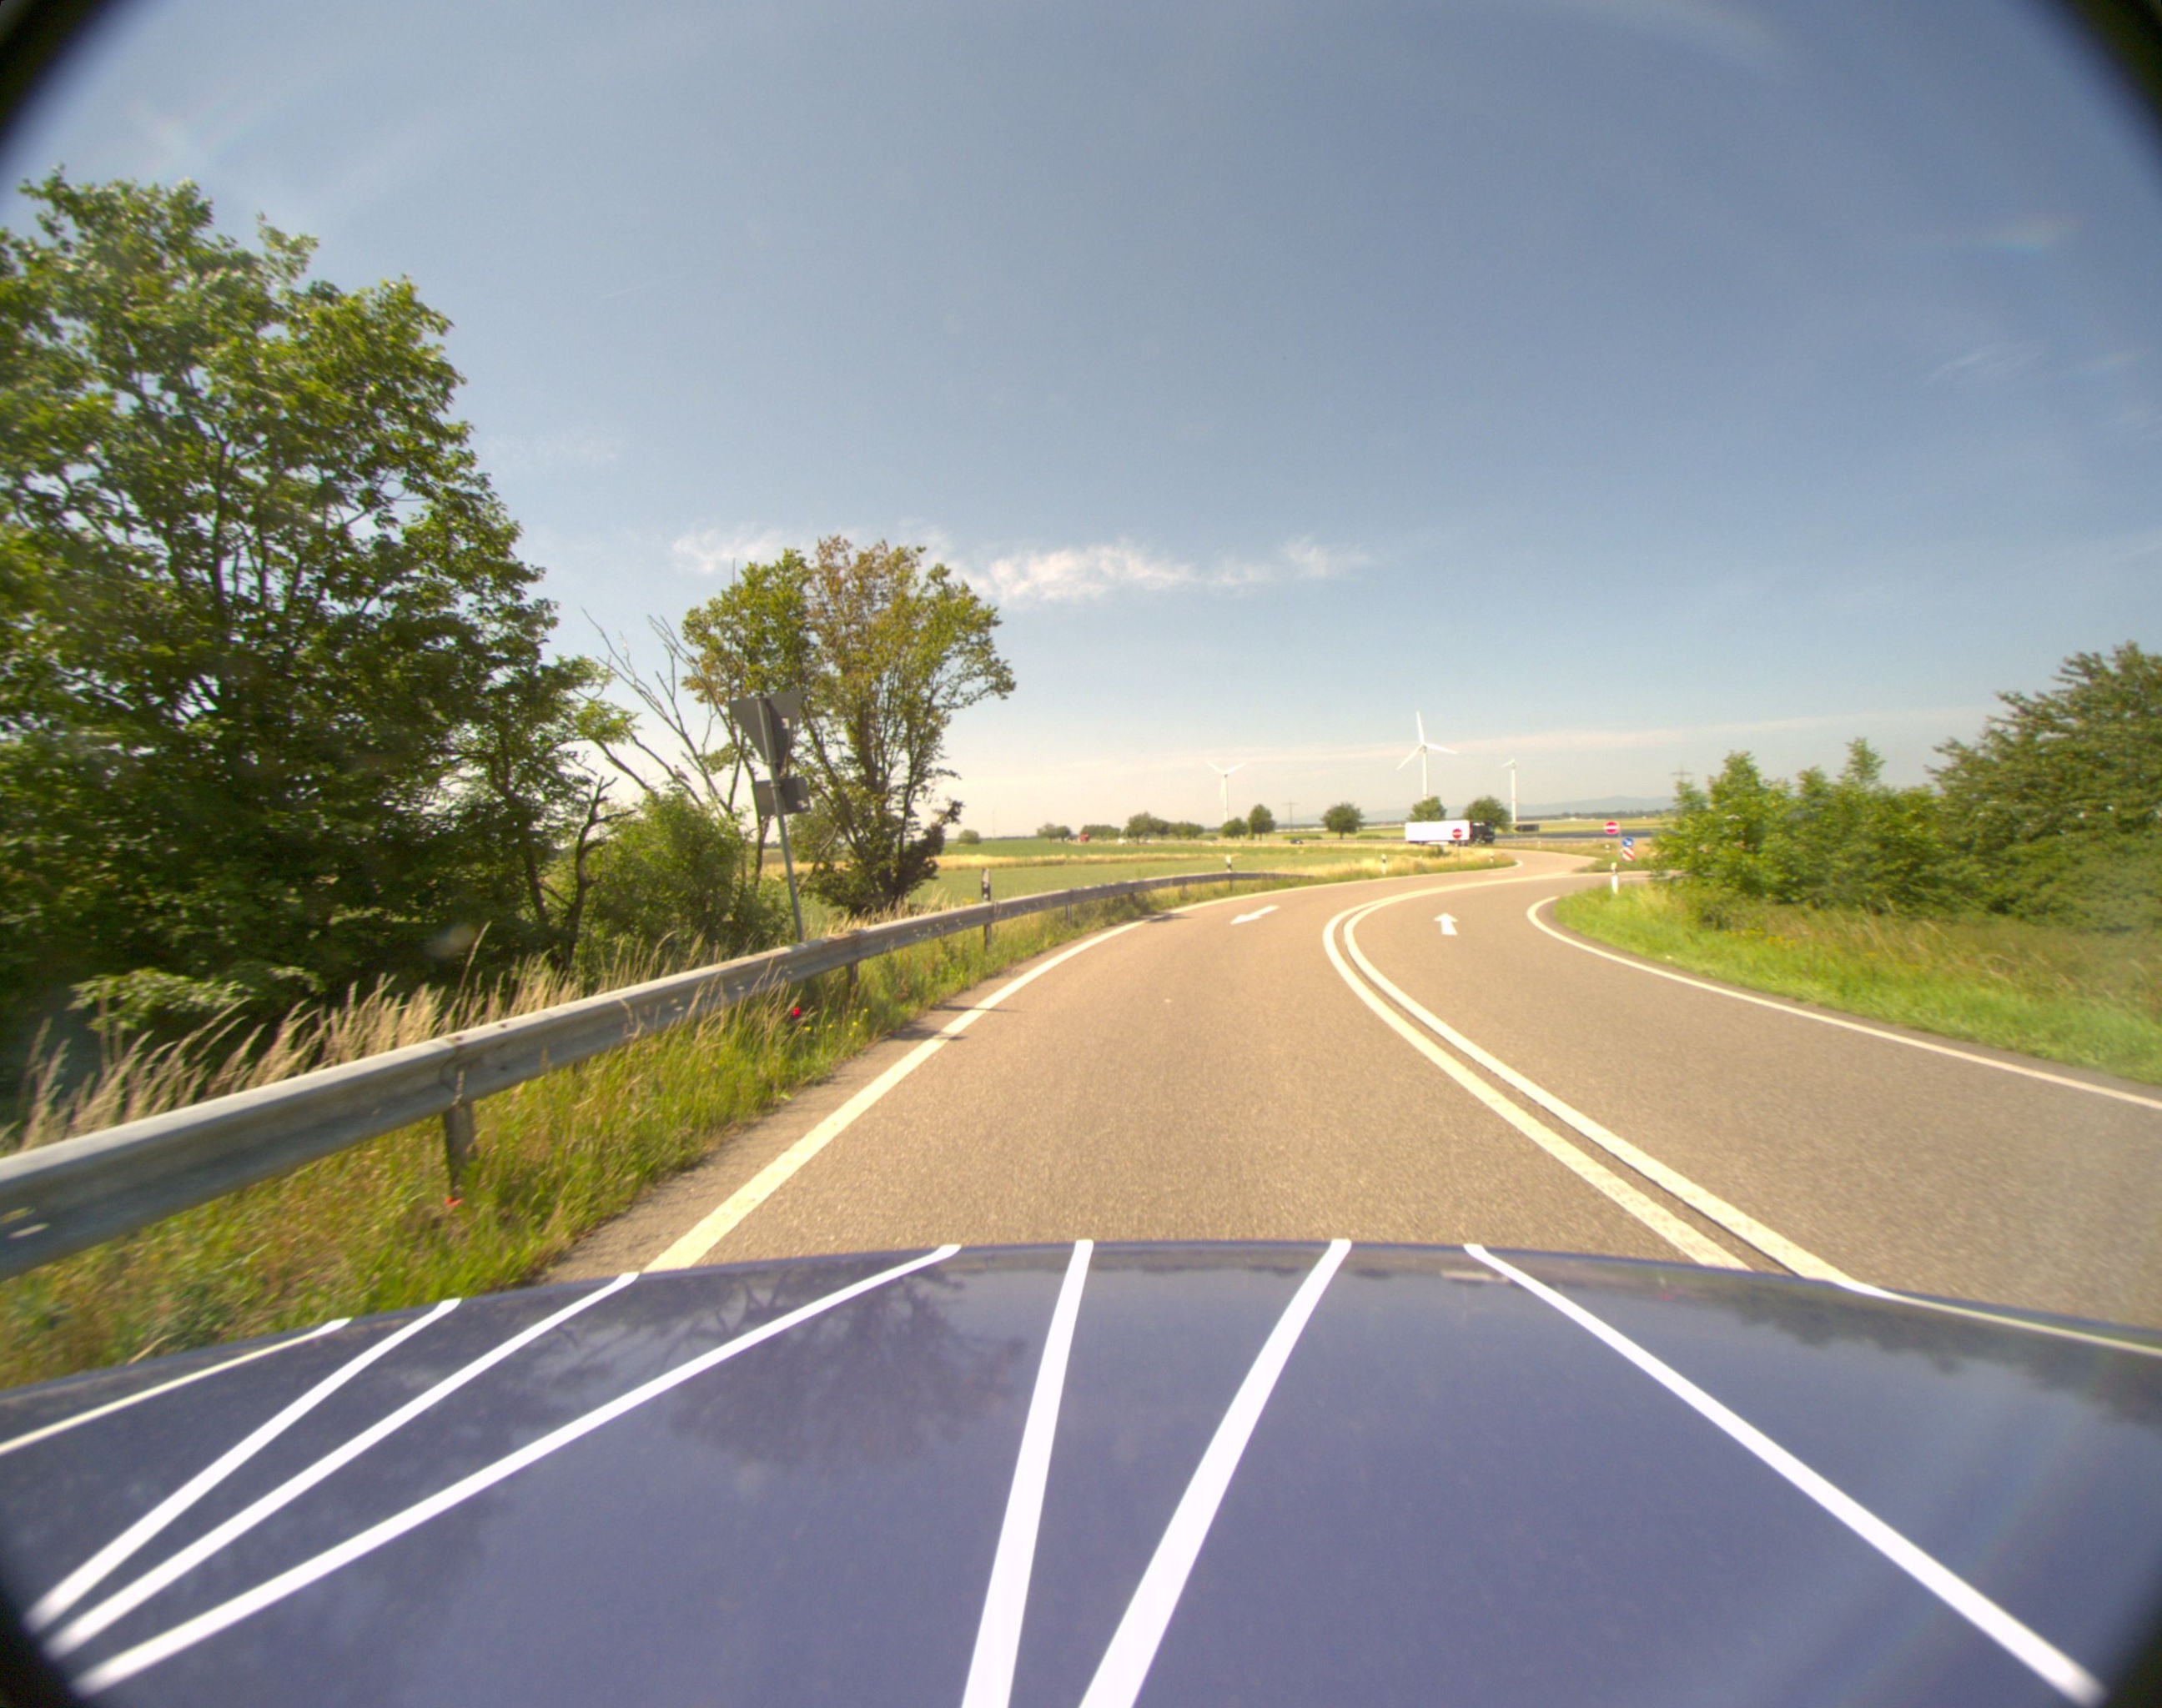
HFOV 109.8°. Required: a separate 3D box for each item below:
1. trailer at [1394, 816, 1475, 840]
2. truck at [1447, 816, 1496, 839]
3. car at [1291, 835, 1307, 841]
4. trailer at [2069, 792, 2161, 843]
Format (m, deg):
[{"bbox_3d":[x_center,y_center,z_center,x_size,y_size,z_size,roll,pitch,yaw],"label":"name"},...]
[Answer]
[{"bbox_3d":[57.192,-4.226,123.725,3.105,3.624,14.488,-1,2,-17],"label":"trailer"},{"bbox_3d":[59.618,-4.044,116.172,3.117,3.498,6.225,-1,2,-18],"label":"truck"},{"bbox_3d":[49.157,-3.667,171.387,1.683,1.346,3.993,-1,2,-17],"label":"car"},{"bbox_3d":[78.748,-2.530,51.741,3.104,3.624,13.783,-1,2,-14],"label":"trailer"}]
